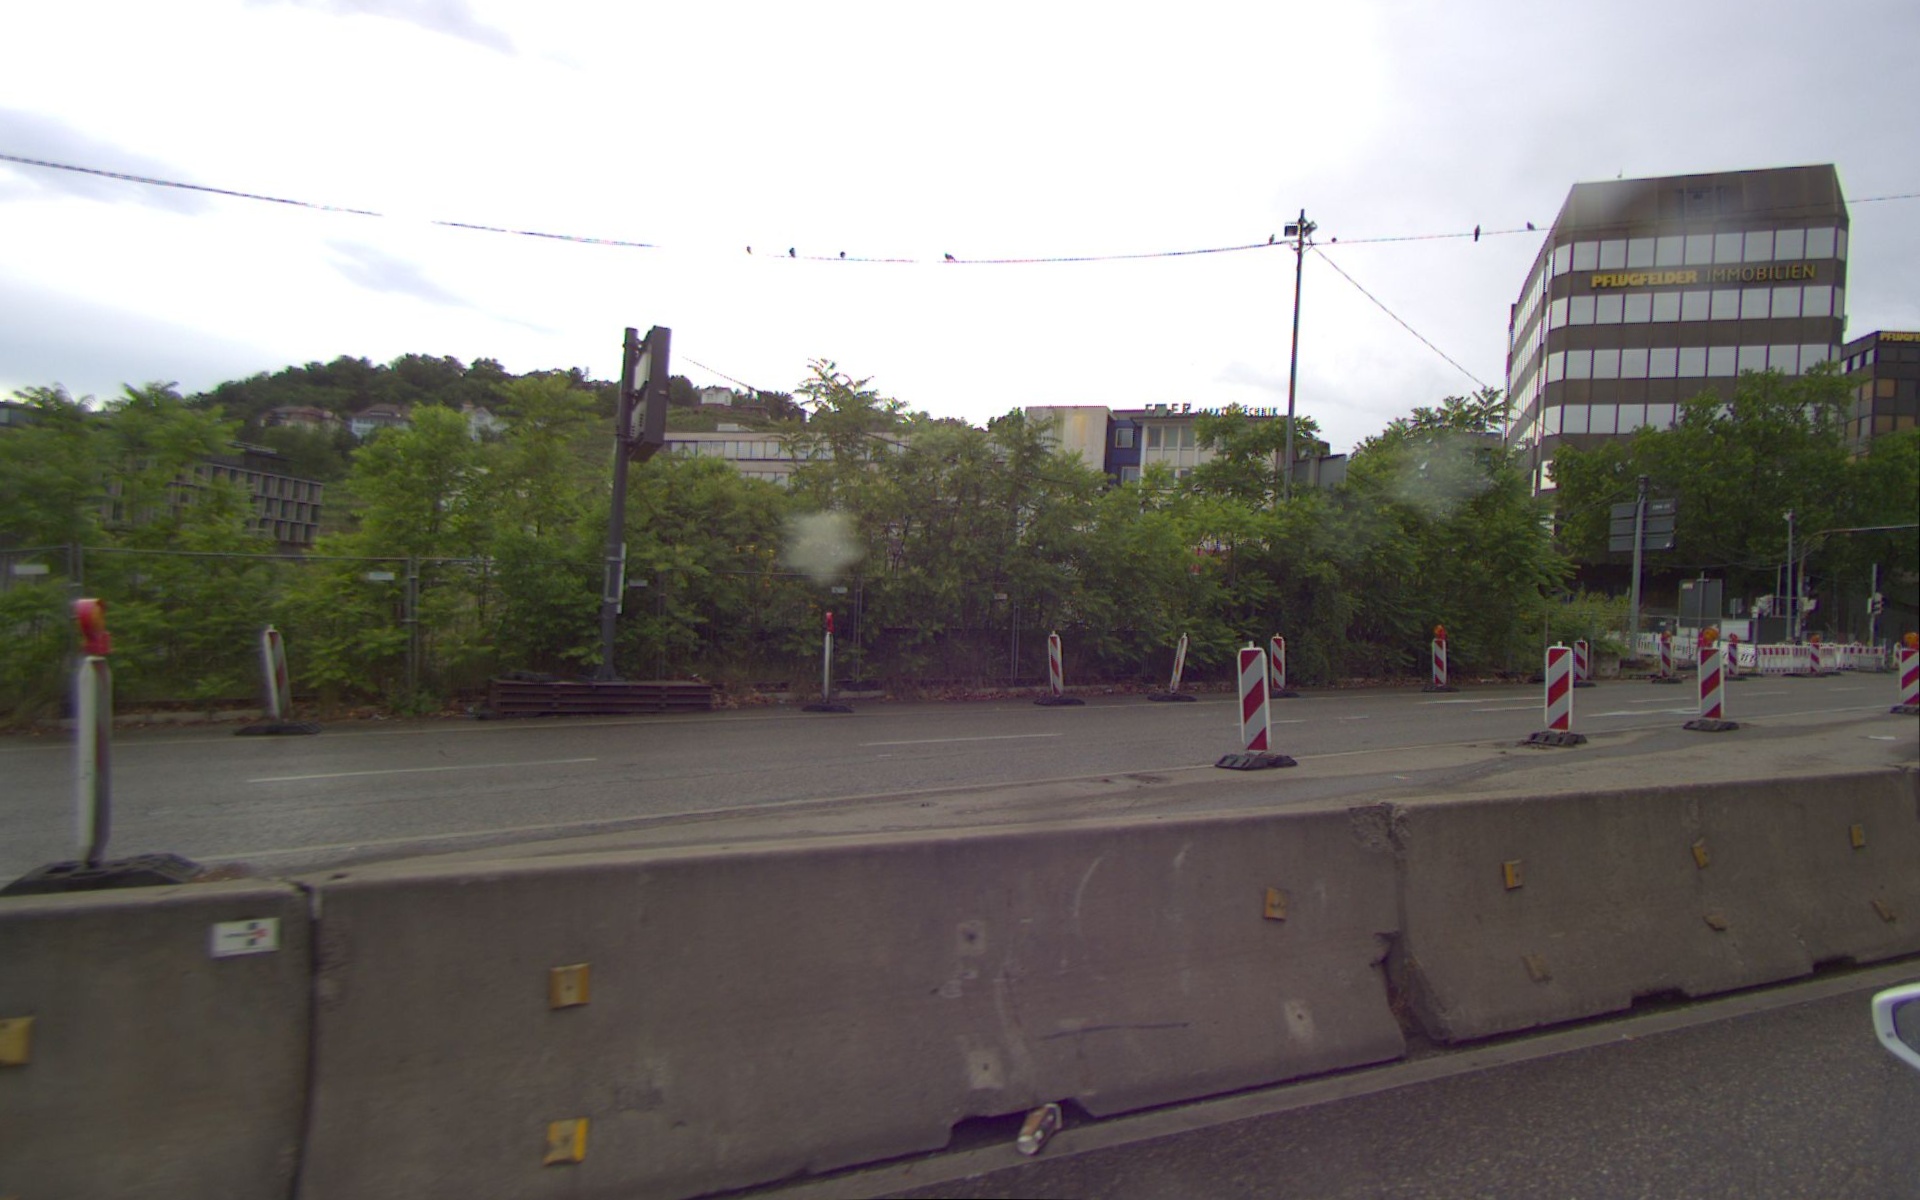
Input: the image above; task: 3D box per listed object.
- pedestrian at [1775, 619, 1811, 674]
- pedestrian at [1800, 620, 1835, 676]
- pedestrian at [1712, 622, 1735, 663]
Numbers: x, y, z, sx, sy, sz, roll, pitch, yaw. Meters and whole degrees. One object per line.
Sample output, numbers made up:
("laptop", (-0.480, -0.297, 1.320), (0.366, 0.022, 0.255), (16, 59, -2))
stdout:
("pedestrian", (30.283, 1.694, 36.528), (0.733, 1.947, 0.757), (4, -2, -29))
("pedestrian", (30.650, 1.706, 35.897), (0.766, 1.926, 0.669), (4, -2, -30))
("pedestrian", (37.214, 2.071, 48.942), (0.742, 1.904, 0.734), (5, -2, -42))
